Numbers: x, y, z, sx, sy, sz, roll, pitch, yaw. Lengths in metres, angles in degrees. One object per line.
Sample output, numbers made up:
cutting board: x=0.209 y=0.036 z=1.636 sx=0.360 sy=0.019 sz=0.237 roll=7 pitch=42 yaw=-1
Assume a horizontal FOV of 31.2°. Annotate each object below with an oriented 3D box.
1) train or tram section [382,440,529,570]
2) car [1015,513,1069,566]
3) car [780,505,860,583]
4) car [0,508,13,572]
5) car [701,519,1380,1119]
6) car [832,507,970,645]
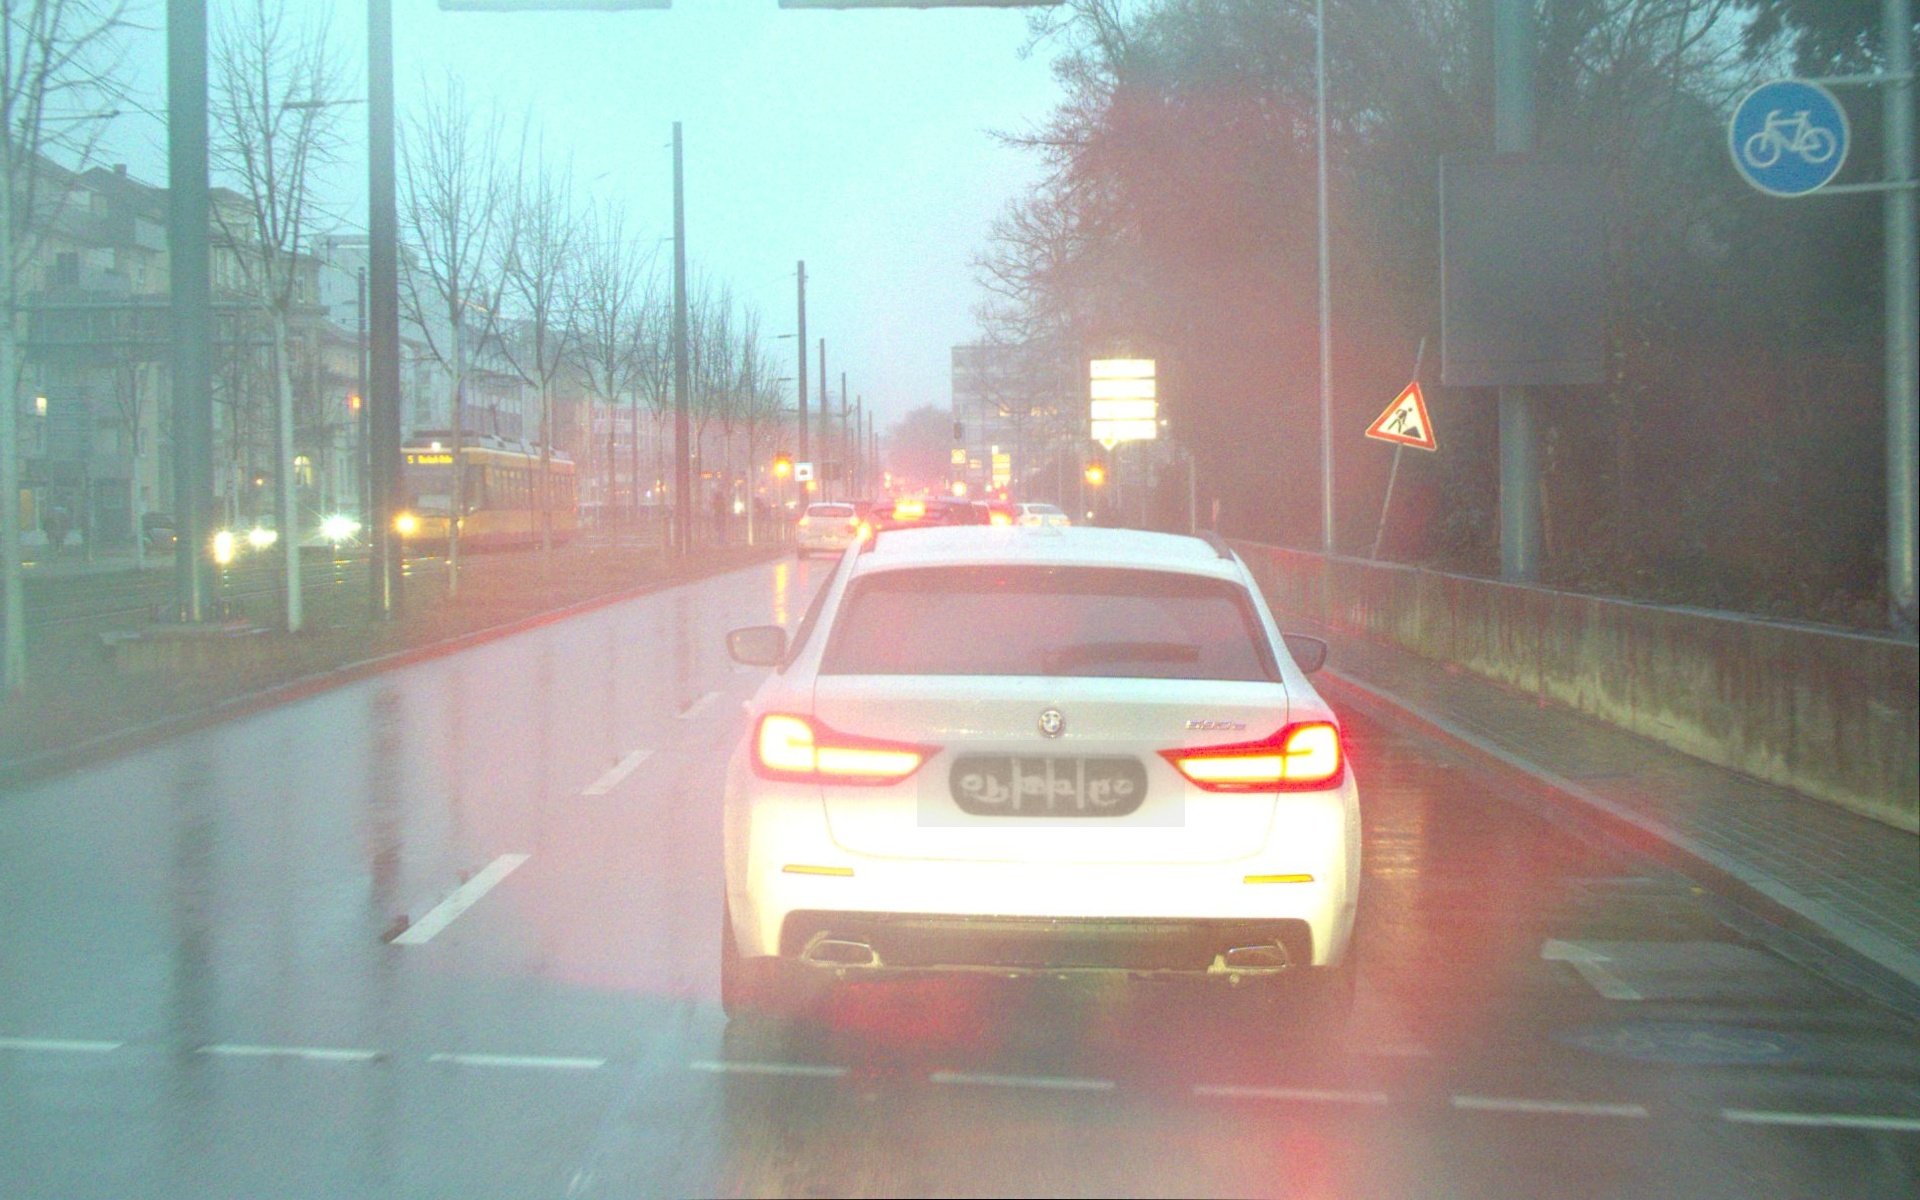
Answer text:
train or tram section: x=-14.384 y=-2.720 z=98.689 sx=2.842 sy=3.492 sz=9.159 roll=-1 pitch=1 yaw=0
car: x=3.201 y=-2.394 z=134.799 sx=1.993 sy=2.007 sz=4.000 roll=1 pitch=1 yaw=0
car: x=-3.728 y=-1.519 z=92.365 sx=1.993 sy=2.007 sz=4.000 roll=1 pitch=1 yaw=0
car: x=-32.601 y=-1.869 z=108.369 sx=4.870 sy=2.006 sz=1.999 roll=-2 pitch=2 yaw=-41
car: x=0.070 y=0.528 z=11.095 sx=1.759 sy=1.547 sz=4.252 roll=1 pitch=1 yaw=-4
car: x=-0.881 y=-0.400 z=52.258 sx=1.993 sy=2.007 sz=4.000 roll=1 pitch=1 yaw=0
